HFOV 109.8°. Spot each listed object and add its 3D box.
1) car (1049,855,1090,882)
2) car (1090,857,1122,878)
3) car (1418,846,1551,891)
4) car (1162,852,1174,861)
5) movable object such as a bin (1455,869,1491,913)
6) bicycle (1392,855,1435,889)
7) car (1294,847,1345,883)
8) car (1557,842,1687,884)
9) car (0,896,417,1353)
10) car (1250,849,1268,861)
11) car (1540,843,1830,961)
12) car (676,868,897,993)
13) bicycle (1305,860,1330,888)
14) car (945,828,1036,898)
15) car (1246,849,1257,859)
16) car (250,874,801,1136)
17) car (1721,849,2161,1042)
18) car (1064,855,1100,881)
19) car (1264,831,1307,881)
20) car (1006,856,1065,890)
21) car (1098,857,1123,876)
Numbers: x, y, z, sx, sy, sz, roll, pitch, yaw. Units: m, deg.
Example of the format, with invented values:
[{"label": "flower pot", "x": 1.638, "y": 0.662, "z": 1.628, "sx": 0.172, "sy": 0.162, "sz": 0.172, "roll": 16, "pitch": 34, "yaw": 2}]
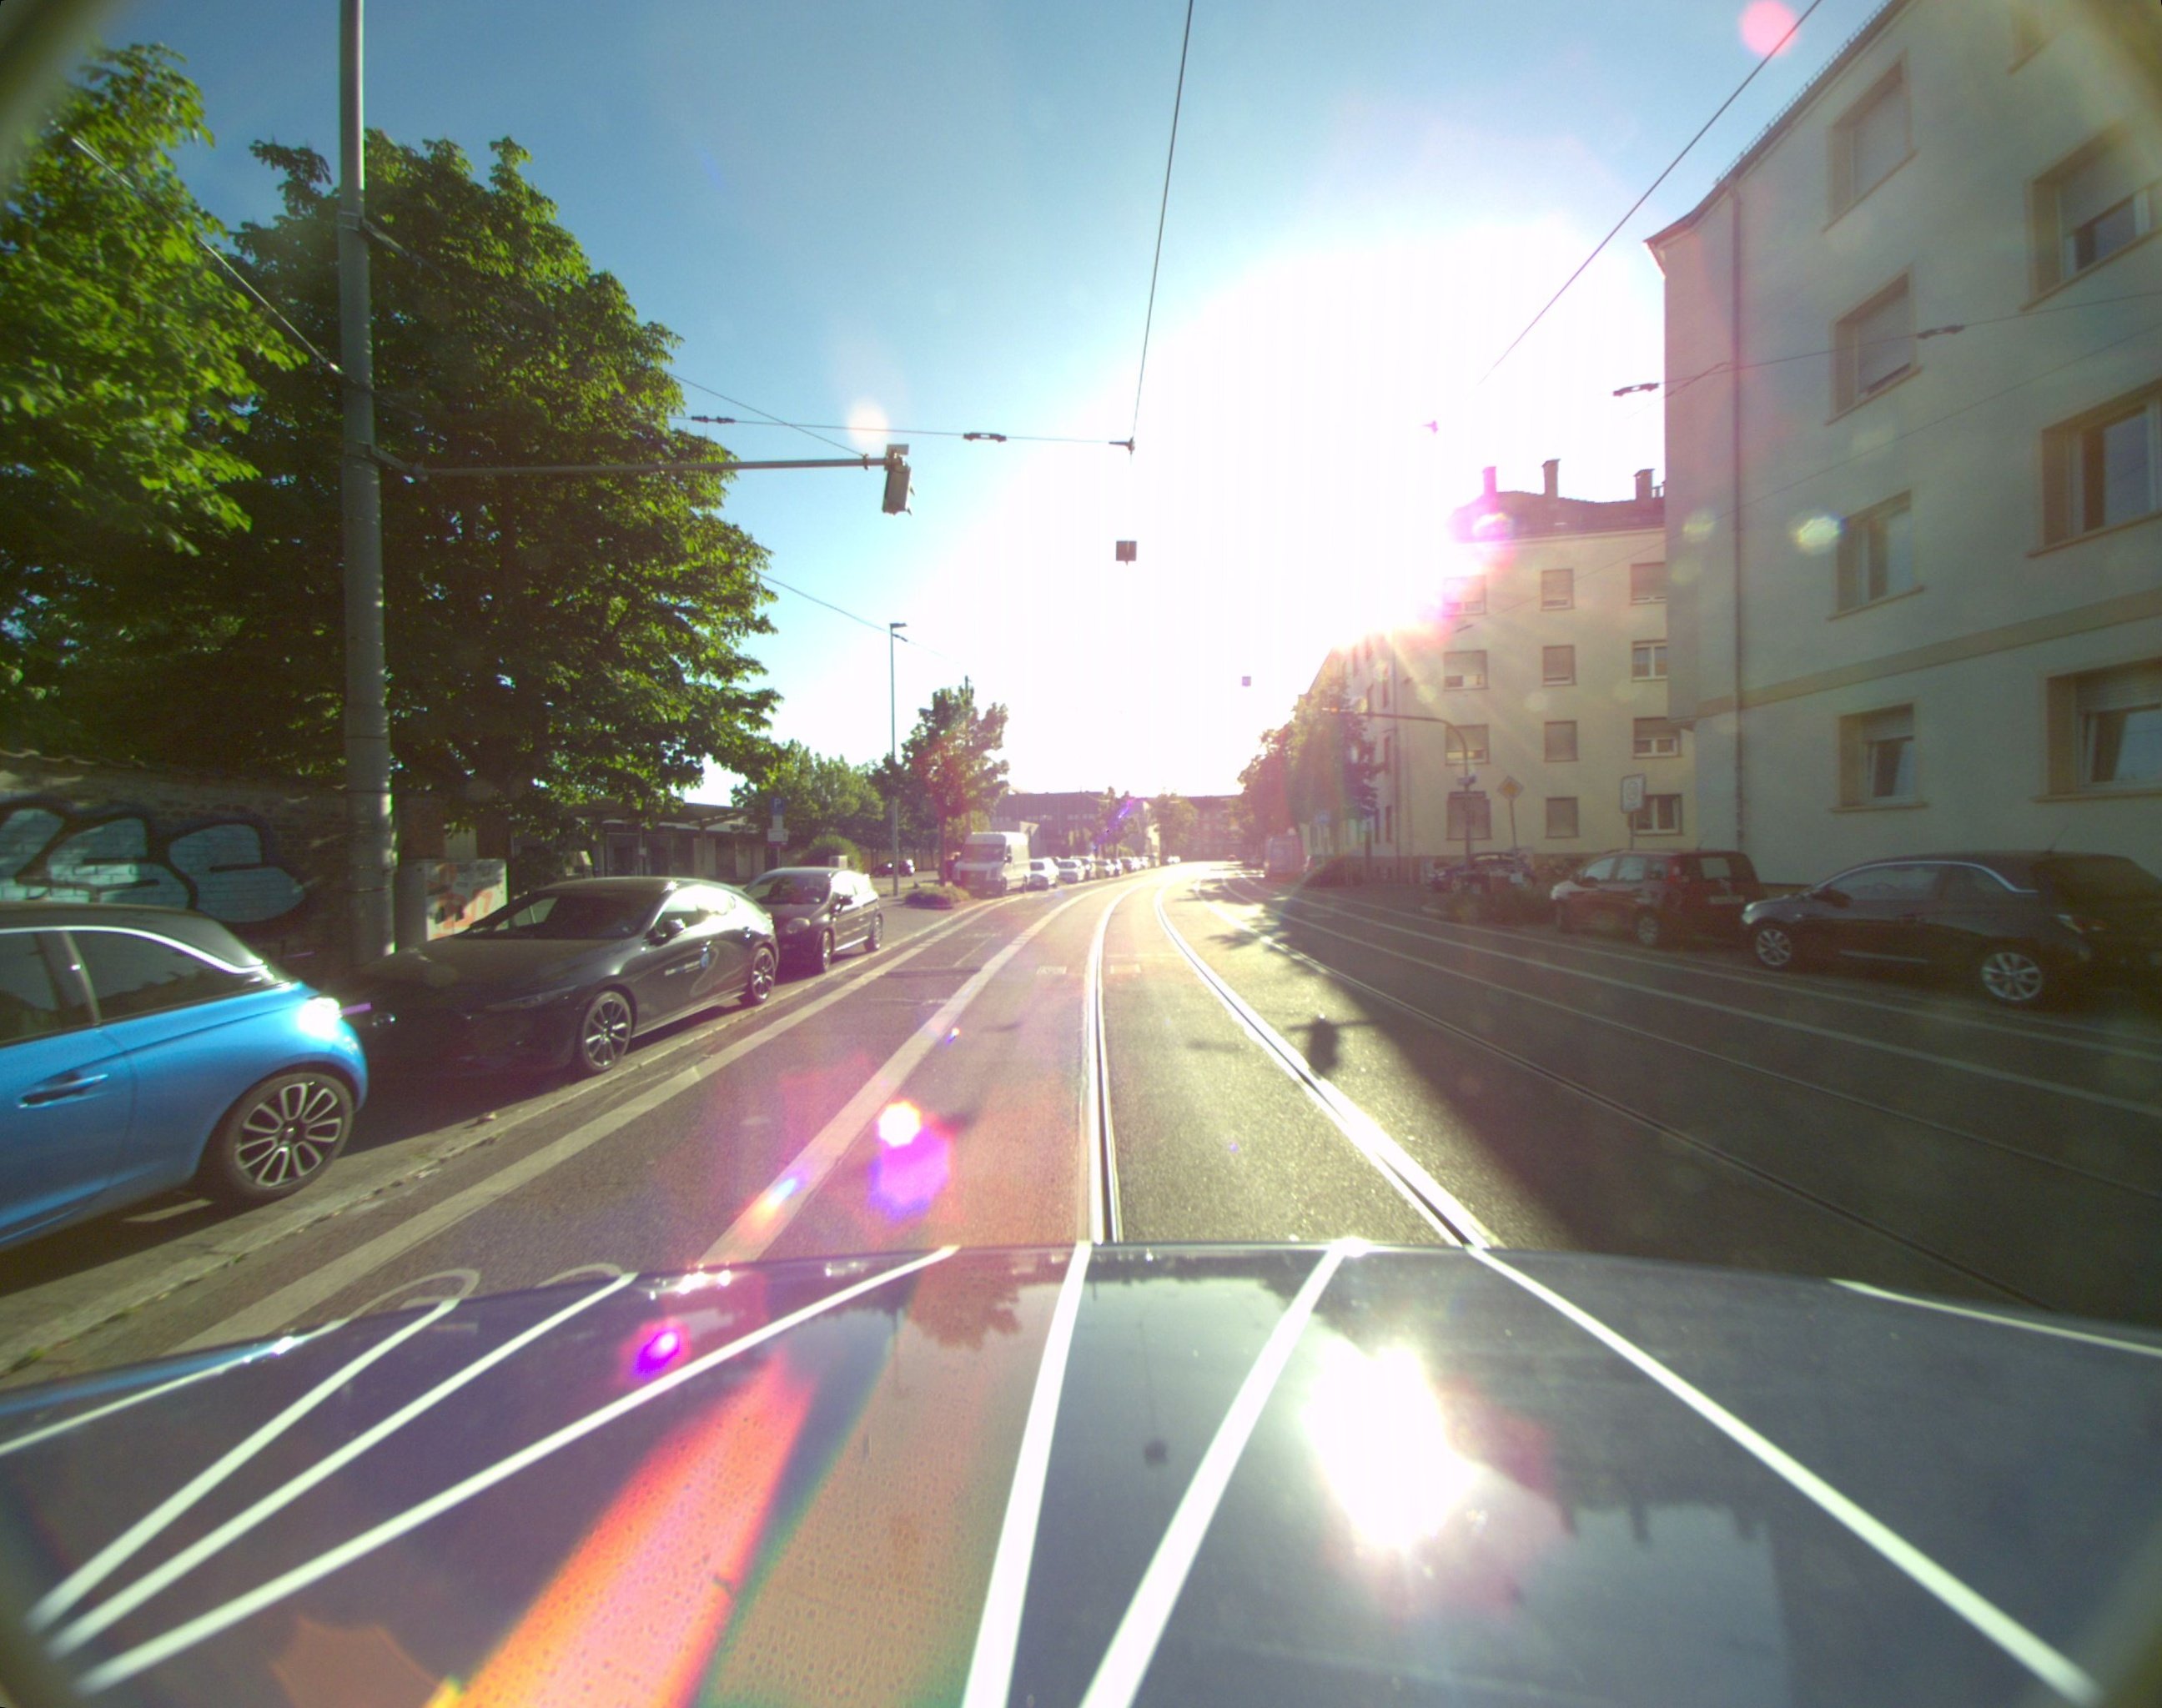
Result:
[{"label": "car", "x": -0.663, "y": 0.876, "z": 46.780, "sx": 1.731, "sy": 1.503, "sz": 4.255, "roll": 0, "pitch": 1, "yaw": 11}, {"label": "car", "x": 2.057, "y": 1.027, "z": 60.957, "sx": 1.731, "sy": 1.455, "sz": 4.501, "roll": -3, "pitch": 0, "yaw": 11}, {"label": "car", "x": 14.739, "y": 0.516, "z": 27.933, "sx": 3.894, "sy": 1.449, "sz": 1.769, "roll": -3, "pitch": 0, "yaw": 7}, {"label": "car", "x": 15.211, "y": 0.458, "z": 132.539, "sx": 1.705, "sy": 1.473, "sz": 4.662, "roll": 1, "pitch": 1, "yaw": 10}, {"label": "movable object such as a bin", "x": 9.179, "y": 0.859, "z": 17.788, "sx": 0.486, "sy": 0.982, "sz": 0.660, "roll": -3, "pitch": 1, "yaw": 3}, {"label": "bicycle", "x": 13.189, "y": 0.716, "z": 30.114, "sx": 1.505, "sy": 1.222, "sz": 0.397, "roll": -3, "pitch": 4, "yaw": 2}, {"label": "car", "x": 12.003, "y": 0.492, "z": 38.466, "sx": 1.794, "sy": 1.551, "sz": 4.645, "roll": -5, "pitch": 0, "yaw": 10}, {"label": "car", "x": 19.506, "y": 0.307, "z": 27.498, "sx": 3.515, "sy": 1.449, "sz": 1.579, "roll": -1, "pitch": 1, "yaw": 7}, {"label": "car", "x": -4.707, "y": 1.013, "z": 2.305, "sx": 1.692, "sy": 1.521, "sz": 4.001, "roll": 0, "pitch": 0, "yaw": 4}, {"label": "car", "x": 23.024, "y": 0.101, "z": 98.349, "sx": 1.868, "sy": 1.482, "sz": 4.664, "roll": -3, "pitch": 0, "yaw": 10}, {"label": "car", "x": 9.505, "y": 0.648, "z": 12.446, "sx": 1.692, "sy": 1.521, "sz": 4.001, "roll": -4, "pitch": 0, "yaw": 4}, {"label": "car", "x": -4.333, "y": 1.033, "z": 11.915, "sx": 1.692, "sy": 1.521, "sz": 4.001, "roll": 0, "pitch": 0, "yaw": 4}, {"label": "bicycle", "x": 10.152, "y": 0.841, "z": 32.718, "sx": 0.513, "sy": 1.127, "sz": 2.031, "roll": -3, "pitch": 0, "yaw": 4}, {"label": "car", "x": -3.610, "y": 0.298, "z": 31.688, "sx": 2.184, "sy": 2.650, "sz": 6.094, "roll": 1, "pitch": 1, "yaw": 9}, {"label": "car", "x": 28.590, "y": -0.062, "z": 127.283, "sx": 1.575, "sy": 1.496, "sz": 4.003, "roll": -3, "pitch": 0, "yaw": 11}, {"label": "car", "x": -4.379, "y": 1.023, "z": 7.045, "sx": 1.692, "sy": 1.521, "sz": 4.356, "roll": 0, "pitch": 0, "yaw": 4}, {"label": "car", "x": 9.437, "y": 0.739, "z": 8.145, "sx": 1.791, "sy": 1.521, "sz": 3.857, "roll": -2, "pitch": 0, "yaw": -2}, {"label": "car", "x": 0.116, "y": 0.927, "z": 52.522, "sx": 1.731, "sy": 1.595, "sz": 4.345, "roll": 0, "pitch": 1, "yaw": 10}, {"label": "car", "x": 12.409, "y": 0.087, "z": 46.454, "sx": 2.021, "sy": 2.809, "sz": 6.036, "roll": -3, "pitch": 0, "yaw": 12}, {"label": "car", "x": -2.189, "y": 0.888, "z": 38.077, "sx": 1.914, "sy": 1.521, "sz": 4.603, "roll": -1, "pitch": 1, "yaw": 10}, {"label": "car", "x": 2.592, "y": 1.023, "z": 65.746, "sx": 1.731, "sy": 1.455, "sz": 4.343, "roll": -3, "pitch": 0, "yaw": 7}]
